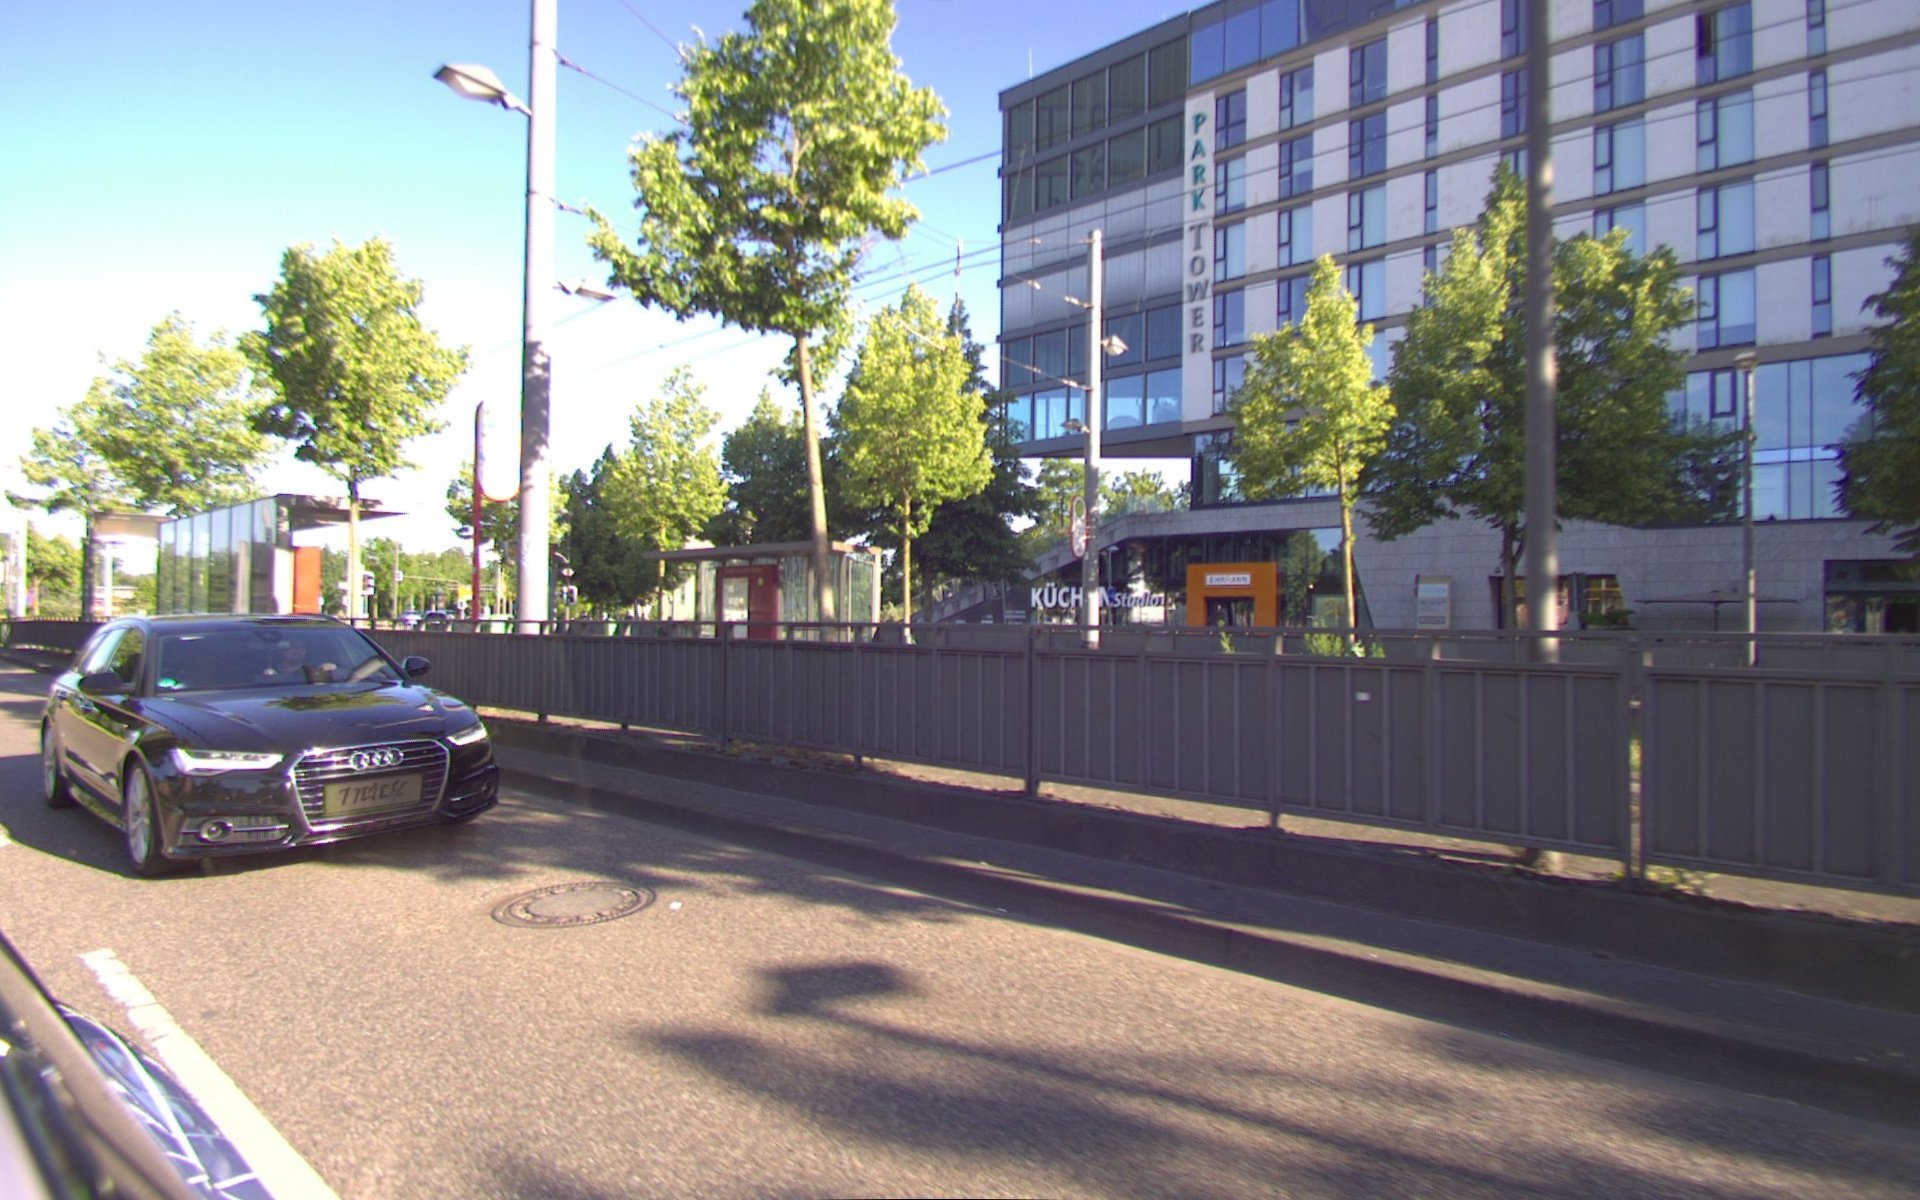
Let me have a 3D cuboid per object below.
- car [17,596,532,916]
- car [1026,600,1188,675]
[{"bbox_3d":[-4.968,0.763,7.041,4.597,1.538,1.766,0,-1,40],"label":"car"},{"bbox_3d":[3.674,0.902,25.668,3.773,1.678,1.599,2,0,41],"label":"car"}]
